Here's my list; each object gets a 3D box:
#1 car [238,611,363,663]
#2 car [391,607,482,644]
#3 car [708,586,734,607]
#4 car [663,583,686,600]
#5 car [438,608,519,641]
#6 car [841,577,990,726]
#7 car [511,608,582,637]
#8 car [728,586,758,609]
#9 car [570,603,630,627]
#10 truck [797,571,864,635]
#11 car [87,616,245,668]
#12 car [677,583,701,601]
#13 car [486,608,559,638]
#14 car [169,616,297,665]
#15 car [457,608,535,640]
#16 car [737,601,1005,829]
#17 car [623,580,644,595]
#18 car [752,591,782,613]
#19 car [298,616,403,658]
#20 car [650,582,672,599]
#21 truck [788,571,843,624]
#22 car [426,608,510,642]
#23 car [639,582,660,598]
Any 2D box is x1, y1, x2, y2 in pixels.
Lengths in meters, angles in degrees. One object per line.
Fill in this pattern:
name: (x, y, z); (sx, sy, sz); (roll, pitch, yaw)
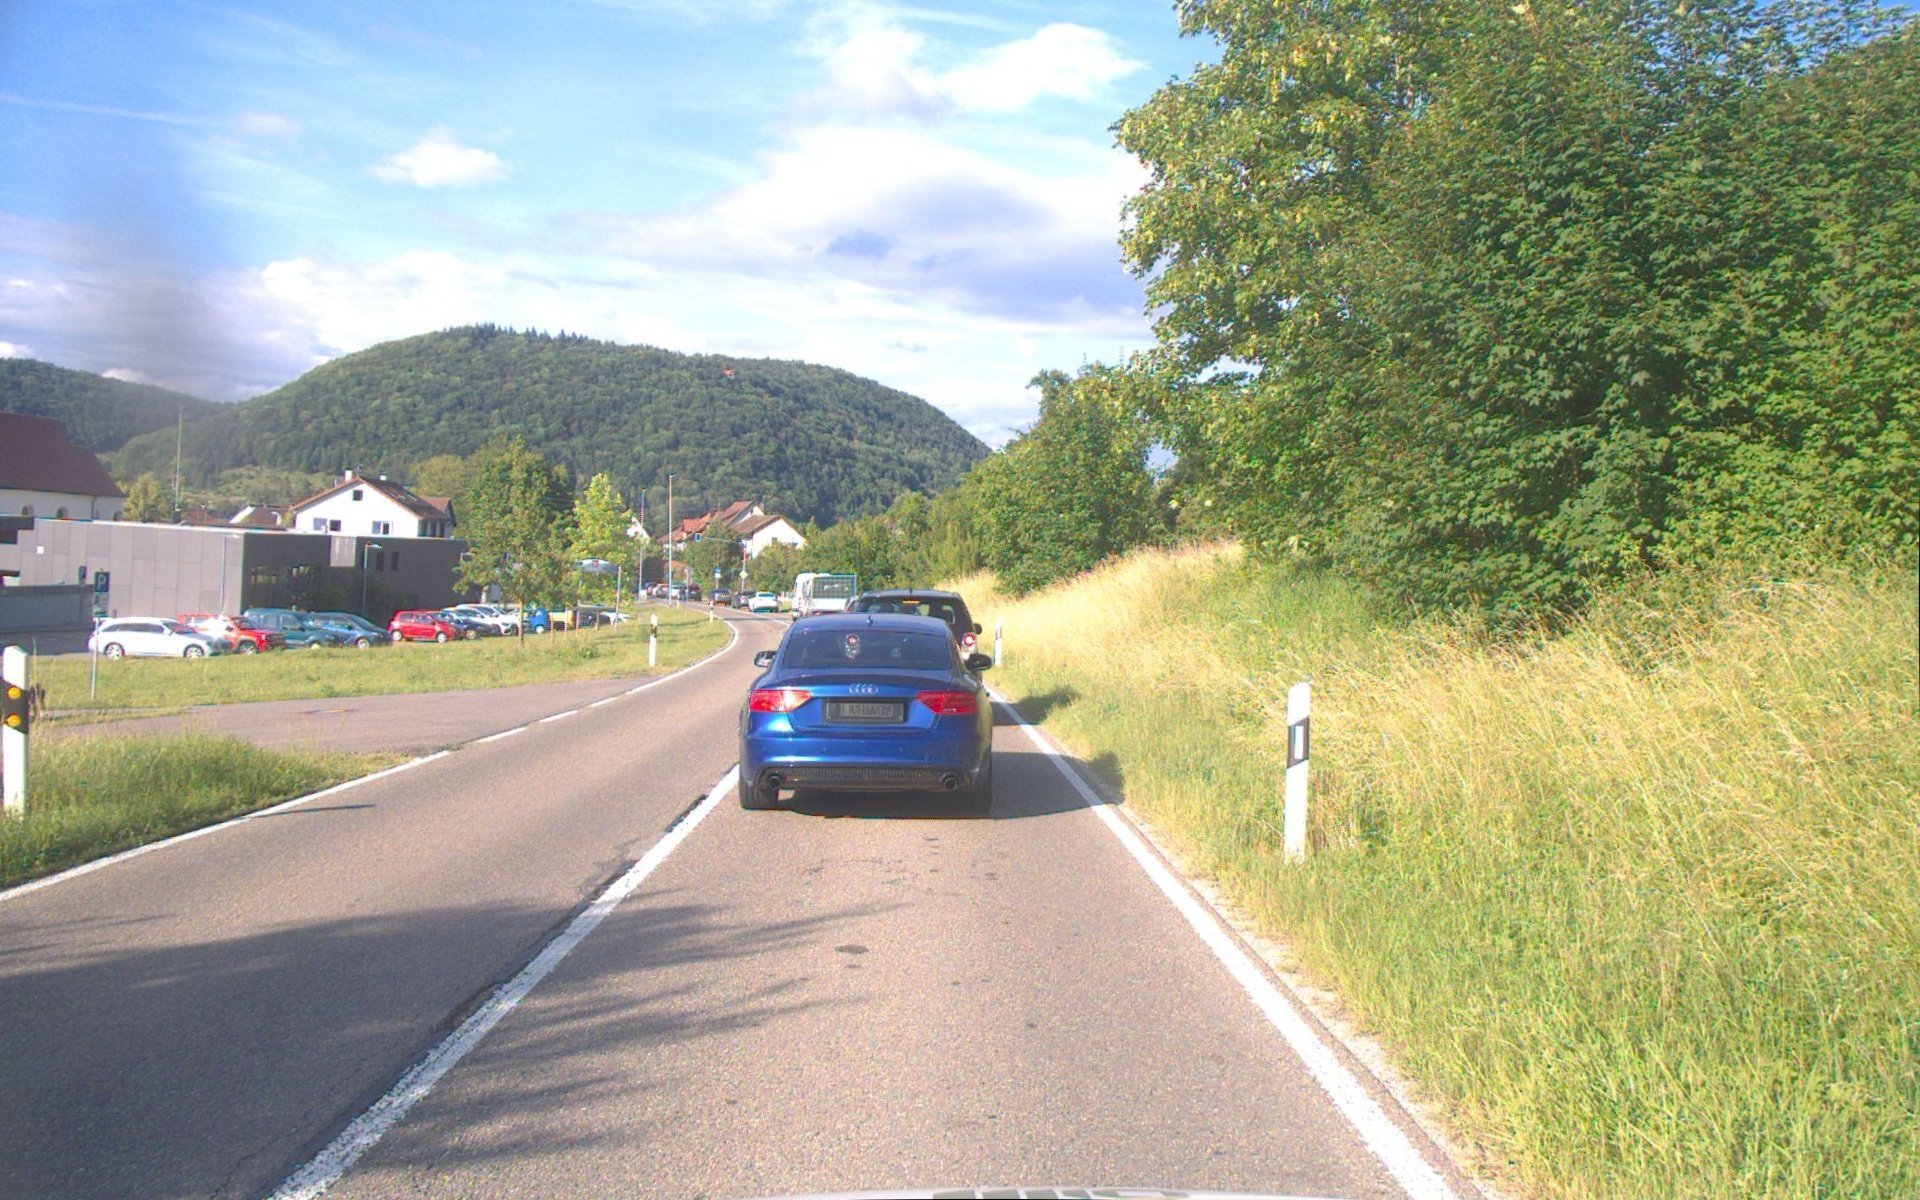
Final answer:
car: (-27.235, 1.506, 68.394); (4.318, 2.043, 1.999); (1, -1, -3)
car: (-26.307, 1.270, 83.206); (3.907, 1.741, 1.999); (1, -1, -3)
car: (-21.220, -0.295, 146.864); (1.815, 1.742, 3.984); (1, 0, -15)
car: (-30.151, -0.858, 174.425); (1.817, 1.742, 3.979); (1, 0, -18)
car: (-26.592, 1.323, 91.406); (3.907, 1.741, 1.999); (1, -1, -3)
car: (-0.513, 0.615, 21.317); (1.718, 1.711, 3.846); (1, 0, 0)
car: (-25.775, 1.419, 103.162); (3.907, 1.741, 1.999); (1, -1, -3)
car: (-17.292, -0.166, 131.514); (1.815, 1.742, 3.984); (1, 0, -15)
car: (-25.602, 1.073, 117.731); (3.907, 1.607, 1.751); (1, -1, -3)
truck: (-5.623, 0.130, 71.080); (2.190, 2.615, 6.087); (1, 0, -11)
car: (-28.536, 1.492, 59.557); (4.636, 1.741, 1.999); (1, -1, -3)
car: (-27.070, -0.761, 165.044); (1.816, 1.742, 3.981); (1, 0, -17)
car: (-26.555, 1.387, 100.478); (3.907, 1.741, 1.999); (1, -1, -3)
car: (-27.467, 1.531, 62.580); (3.907, 1.741, 1.999); (1, -1, -3)
car: (-26.536, 1.347, 94.691); (3.907, 1.741, 1.999); (1, -1, -3)
car: (-0.573, 0.762, 12.671); (1.718, 1.455, 3.846); (1, 0, 0)
car: (-38.906, -1.438, 197.197); (1.818, 1.742, 3.976); (1, 0, -20)
car: (-13.959, 0.169, 119.696); (1.813, 1.508, 3.988); (1, 0, -12)
car: (-26.834, 1.614, 72.901); (3.907, 1.741, 1.999); (1, -1, -3)
car: (-32.955, -1.039, 182.119); (1.817, 1.742, 3.979); (1, 0, -18)
truck: (-7.581, -0.131, 86.189); (2.190, 2.615, 6.689); (1, 0, -11)
car: (-26.075, 1.306, 87.757); (3.907, 1.741, 1.999); (1, -1, -3)
car: (-35.629, -1.125, 189.583); (1.818, 1.742, 3.977); (1, 0, -19)
